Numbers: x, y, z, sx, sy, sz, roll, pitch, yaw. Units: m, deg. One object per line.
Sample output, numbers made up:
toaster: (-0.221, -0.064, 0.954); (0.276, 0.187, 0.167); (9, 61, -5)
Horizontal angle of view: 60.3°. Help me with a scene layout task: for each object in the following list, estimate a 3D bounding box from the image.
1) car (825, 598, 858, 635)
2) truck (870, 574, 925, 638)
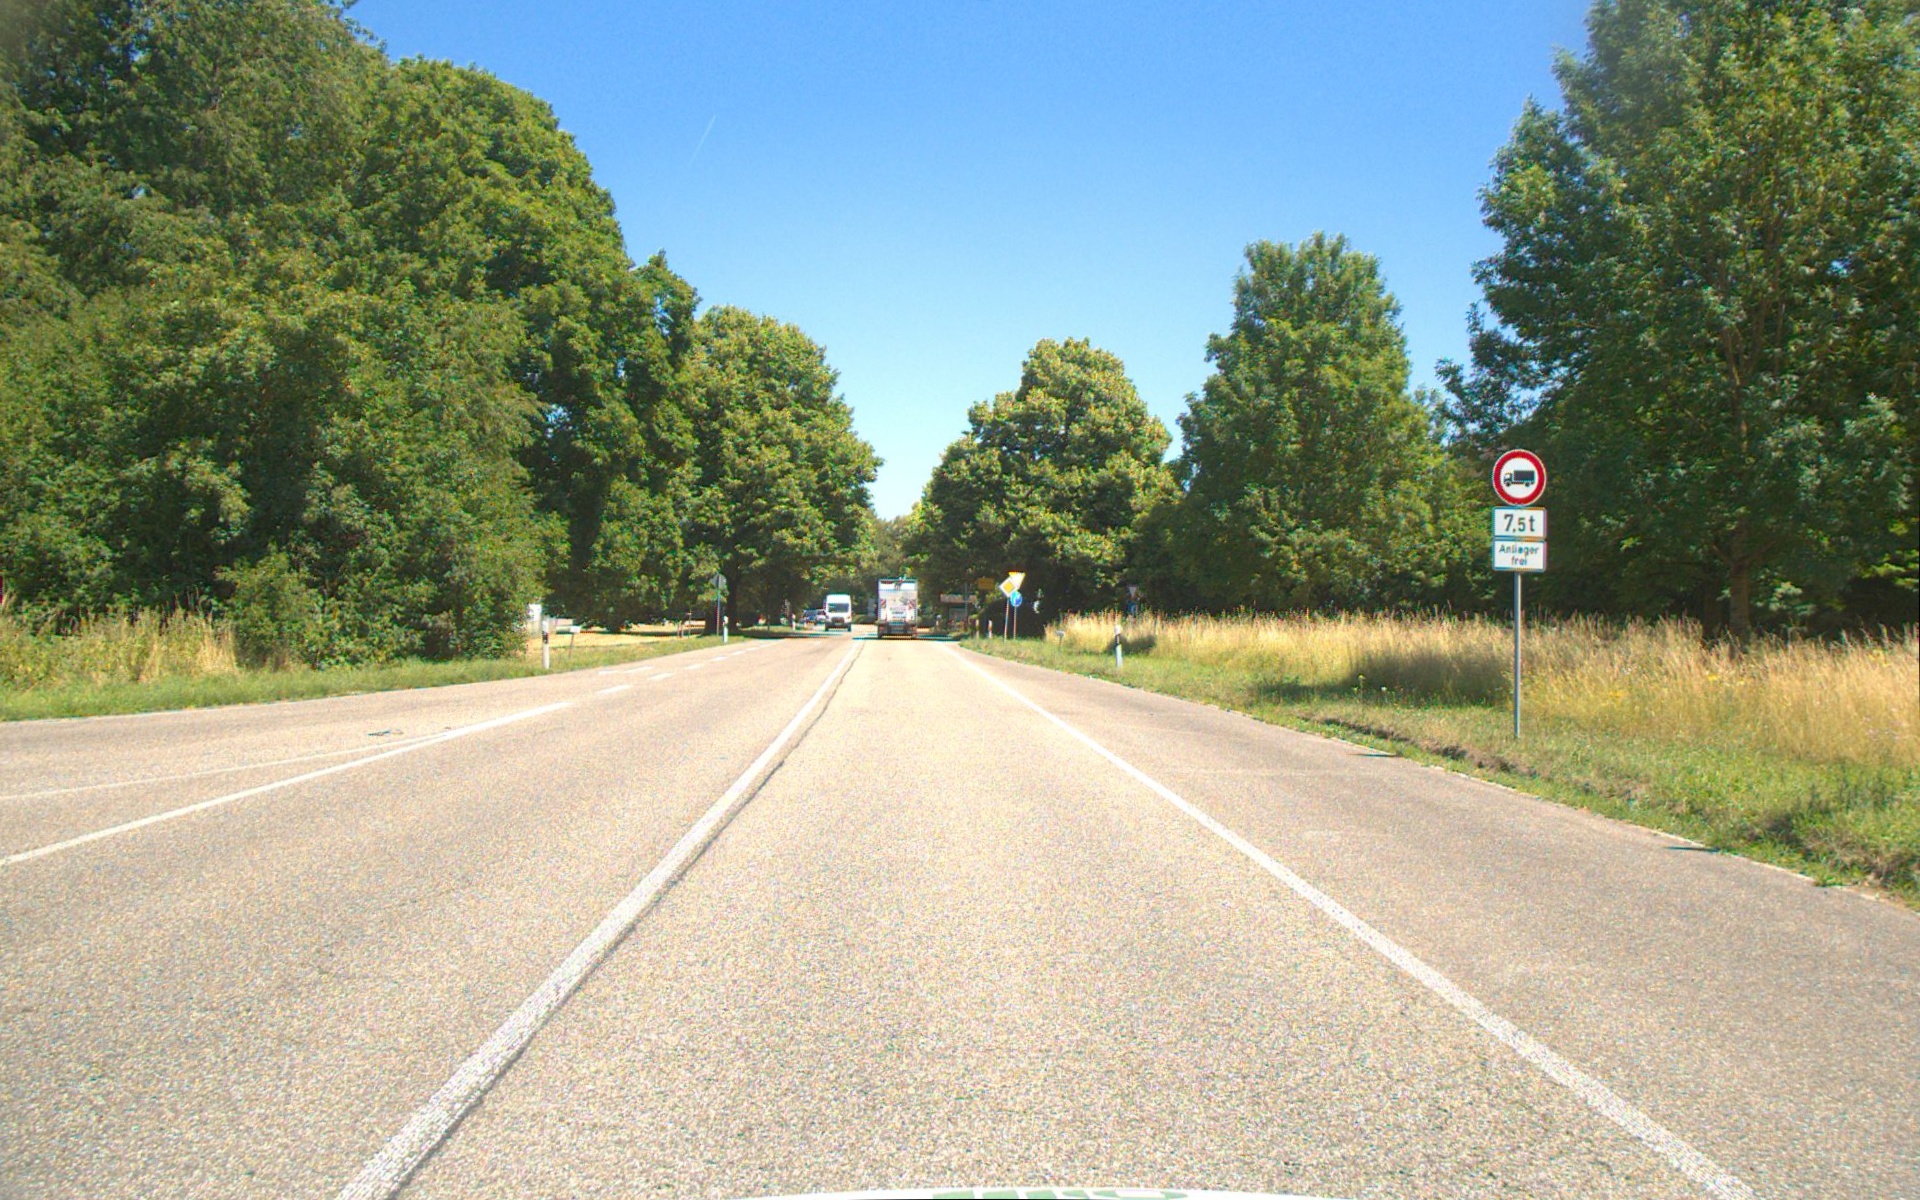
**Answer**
car: (-8.928, 1.255, 125.108); (2.031, 2.674, 6.782); (1, -1, -1)
truck: (-3.171, 0.288, 84.843); (2.481, 3.190, 5.362); (0, 0, 1)
